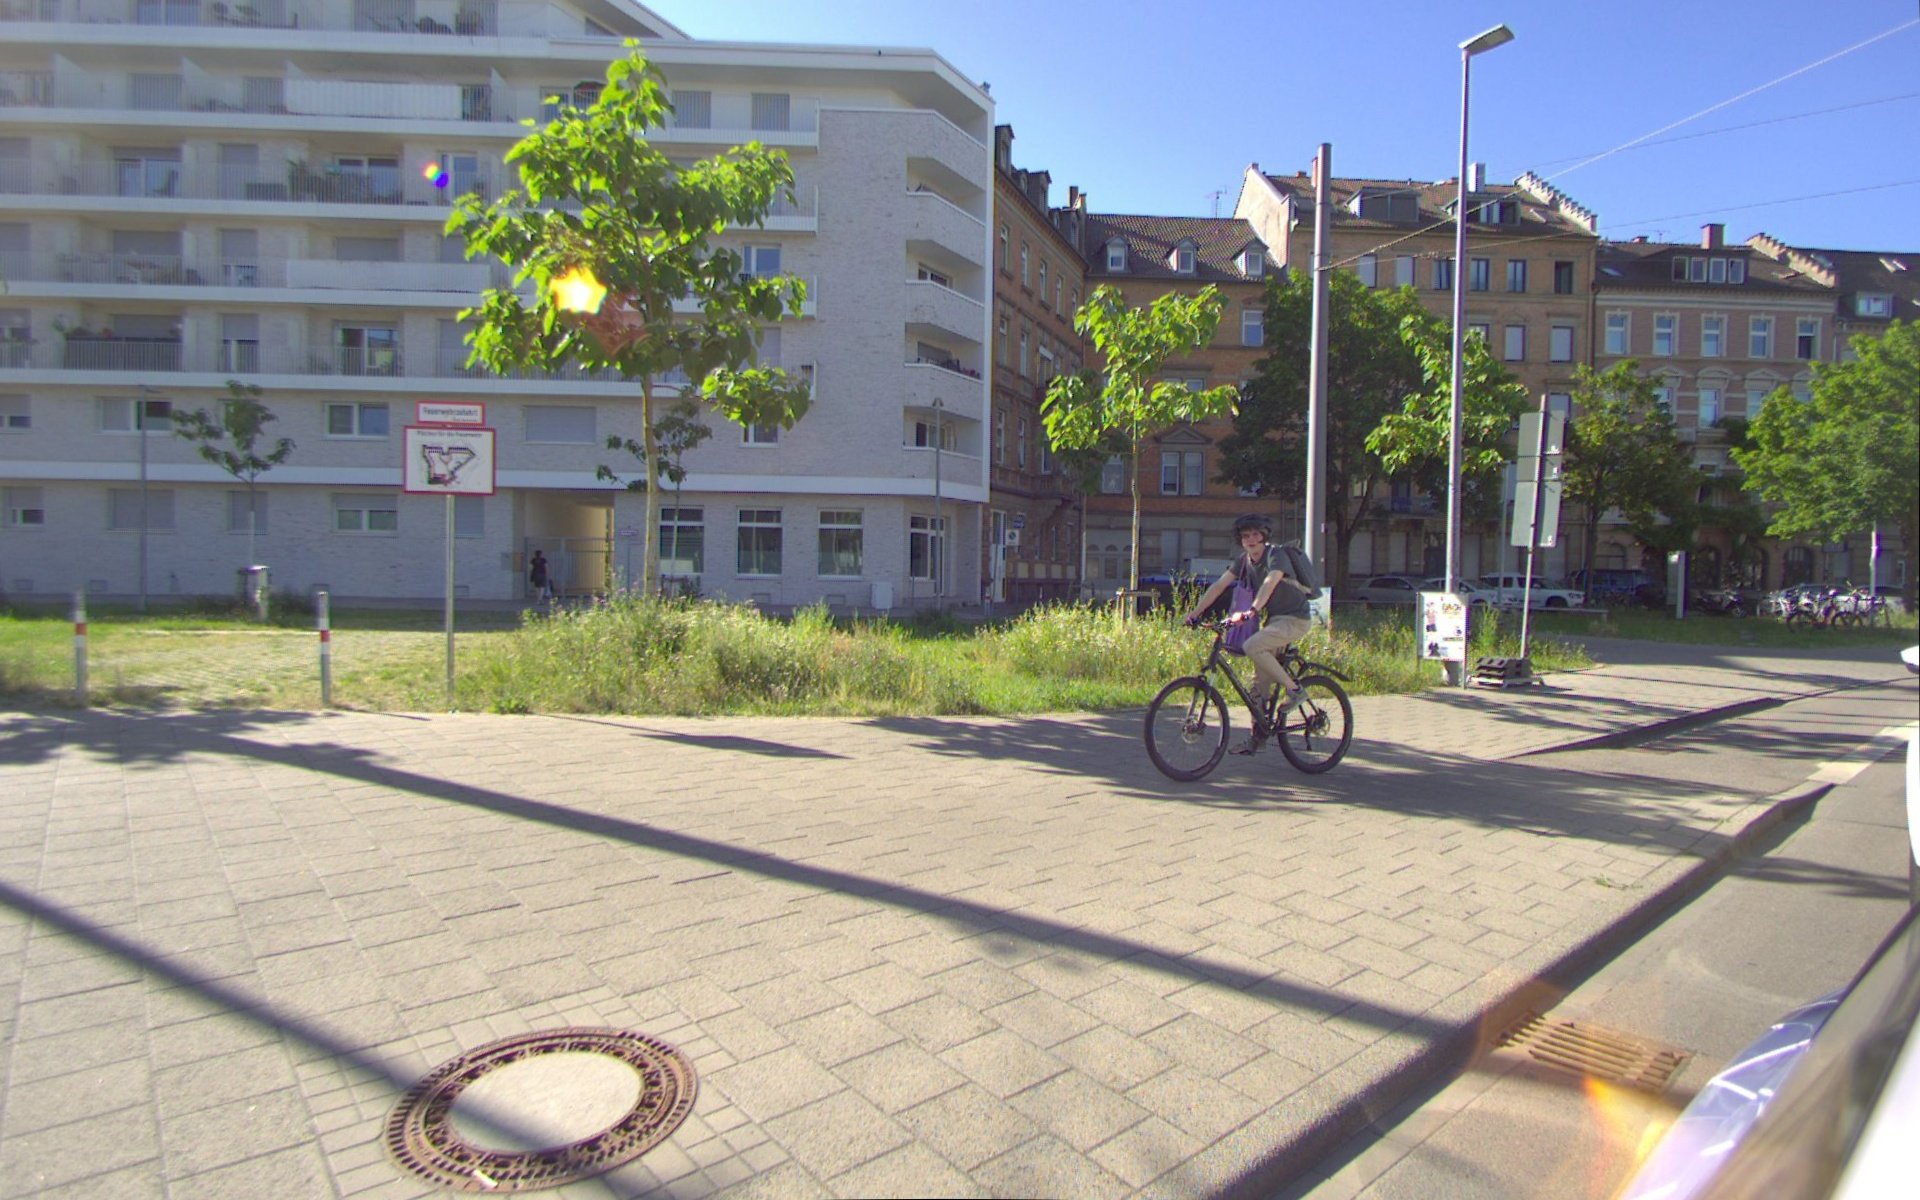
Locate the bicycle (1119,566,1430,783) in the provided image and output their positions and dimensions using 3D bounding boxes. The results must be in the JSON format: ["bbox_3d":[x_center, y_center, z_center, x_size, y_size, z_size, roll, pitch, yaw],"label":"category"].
[{"bbox_3d":[2.211,0.469,7.118,2.031,1.378,0.739,0,1,-20],"label":"bicycle"}]

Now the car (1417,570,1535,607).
[{"bbox_3d":[19.670,-0.466,38.720,1.648,1.267,3.709,0,3,-28],"label":"car"}]

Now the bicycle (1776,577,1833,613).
[{"bbox_3d":[30.939,-0.183,37.113,0.653,1.284,2.196,0,0,12],"label":"bicycle"}]

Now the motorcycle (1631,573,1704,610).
[{"bbox_3d":[26.152,-0.319,37.471,0.649,1.339,2.208,0,0,-23],"label":"motorcycle"}]

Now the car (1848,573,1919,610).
[{"bbox_3d":[37.820,-0.327,39.965,1.649,1.423,3.832,-1,3,-32],"label":"car"}]

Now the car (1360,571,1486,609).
[{"bbox_3d":[17.347,-0.421,38.110,1.648,1.267,4.170,0,3,-28],"label":"car"}]

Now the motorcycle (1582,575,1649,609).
[{"bbox_3d":[26.025,-0.327,40.228,0.649,1.293,2.324,0,0,-18],"label":"motorcycle"}]

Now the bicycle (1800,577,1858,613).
[{"bbox_3d":[32.033,-0.191,37.337,0.653,1.284,2.196,0,0,12],"label":"bicycle"}]

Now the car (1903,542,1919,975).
[{"bbox_3d":[5.868,0.610,4.719,4.323,1.667,1.840,0,0,-43],"label":"car"}]

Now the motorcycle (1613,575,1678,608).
[{"bbox_3d":[27.486,-0.333,40.614,0.649,1.284,2.209,0,0,-18],"label":"motorcycle"}]

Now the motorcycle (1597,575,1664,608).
[{"bbox_3d":[26.695,-0.334,40.360,0.649,1.300,2.324,0,0,-18],"label":"motorcycle"}]

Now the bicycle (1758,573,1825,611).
[{"bbox_3d":[29.272,-0.290,35.676,0.651,1.284,2.202,0,0,4],"label":"bicycle"}]

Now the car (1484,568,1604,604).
[{"bbox_3d":[22.327,-0.577,38.776,1.513,1.267,3.700,-1,3,-39],"label":"car"}]

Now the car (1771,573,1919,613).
[{"bbox_3d":[34.684,-0.318,39.595,1.651,1.423,4.324,-1,3,-38],"label":"car"}]

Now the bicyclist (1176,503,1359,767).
[{"bbox_3d":[2.134,0.220,7.091,0.951,1.715,0.737,0,1,-20],"label":"bicyclist"}]

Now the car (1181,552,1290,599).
[{"bbox_3d":[12.659,-1.154,46.785,4.416,2.062,2.054,1,2,0],"label":"car"}]

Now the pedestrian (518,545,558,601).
[{"bbox_3d":[-13.442,-0.862,32.256,0.829,1.717,0.985,2,2,2],"label":"pedestrian"}]

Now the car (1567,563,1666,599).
[{"bbox_3d":[30.873,-0.919,47.653,3.631,1.607,1.552,1,2,0],"label":"car"}]

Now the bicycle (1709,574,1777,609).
[{"bbox_3d":[29.722,-0.324,38.466,0.649,1.284,2.208,0,0,-9],"label":"bicycle"}]

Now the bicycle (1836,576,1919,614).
[{"bbox_3d":[31.628,-0.164,34.766,2.180,1.284,0.657,0,0,25],"label":"bicycle"}]

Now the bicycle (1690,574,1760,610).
[{"bbox_3d":[28.368,-0.308,37.568,0.649,1.284,2.208,0,0,-11],"label":"bicycle"}]

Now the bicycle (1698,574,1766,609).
[{"bbox_3d":[29.079,-0.318,38.155,0.649,1.284,2.208,0,0,-9],"label":"bicycle"}]

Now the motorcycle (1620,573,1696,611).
[{"bbox_3d":[25.337,-0.304,36.782,0.650,1.347,2.207,0,0,-28],"label":"motorcycle"}]
